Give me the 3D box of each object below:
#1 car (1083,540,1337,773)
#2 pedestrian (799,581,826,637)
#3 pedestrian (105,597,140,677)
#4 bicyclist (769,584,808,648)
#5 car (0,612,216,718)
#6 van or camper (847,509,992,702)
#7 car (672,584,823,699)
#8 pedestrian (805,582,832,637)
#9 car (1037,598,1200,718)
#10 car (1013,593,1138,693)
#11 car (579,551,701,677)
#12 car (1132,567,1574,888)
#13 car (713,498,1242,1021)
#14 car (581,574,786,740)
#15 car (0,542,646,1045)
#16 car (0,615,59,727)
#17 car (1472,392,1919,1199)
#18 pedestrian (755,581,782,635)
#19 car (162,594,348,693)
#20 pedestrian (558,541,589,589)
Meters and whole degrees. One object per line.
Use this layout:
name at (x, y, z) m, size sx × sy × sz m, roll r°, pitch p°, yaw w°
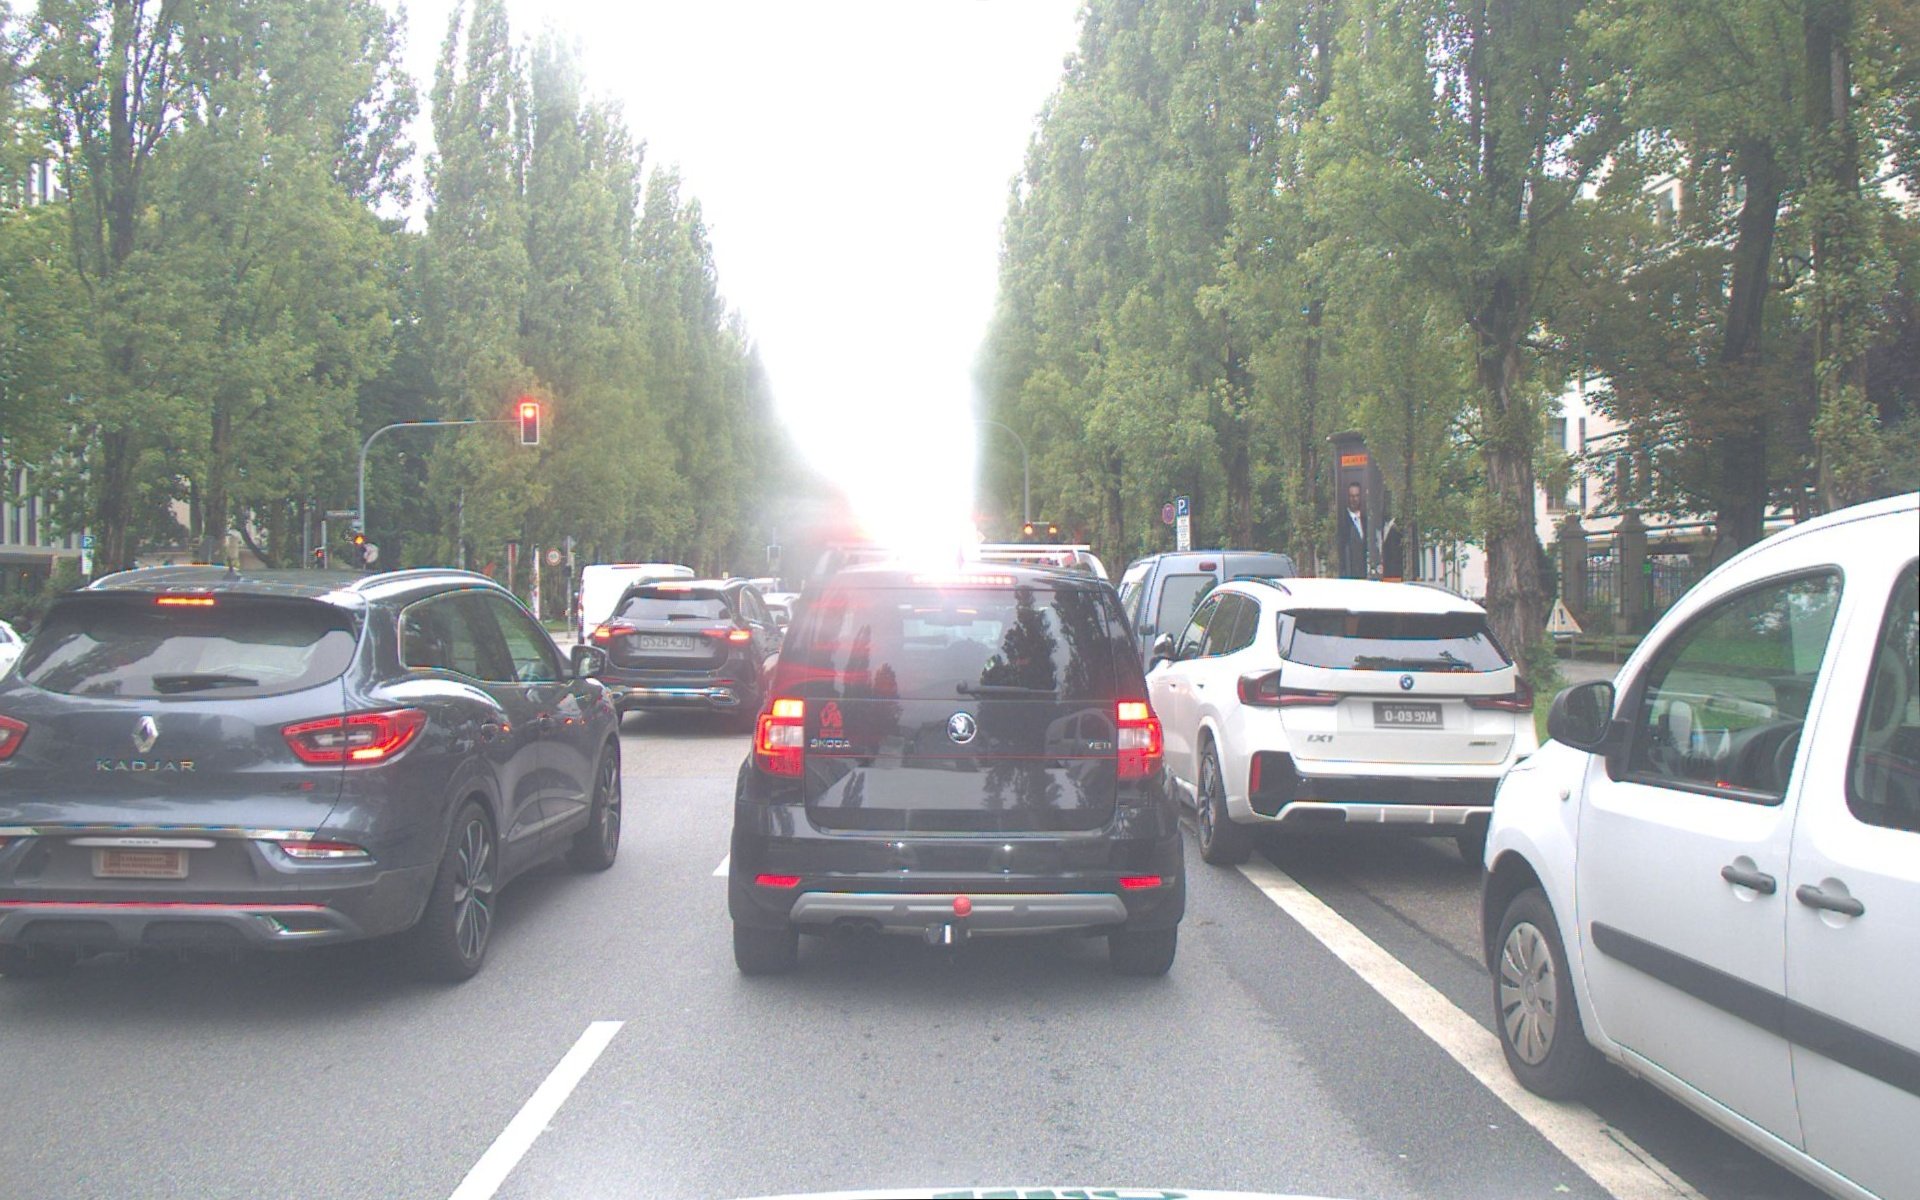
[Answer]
car at (2.246, 0.449, 15.853) m, size 1.700 × 1.928 × 4.023 m, roll -1°, pitch 1°, yaw -2°
pedestrian at (-5.474, 0.321, 61.355) m, size 0.867 × 2.049 × 1.013 m, roll -1°, pitch 0°, yaw 1°
pedestrian at (-16.451, 0.730, 32.485) m, size 0.455 × 1.555 × 0.395 m, roll -1°, pitch 0°, yaw -1°
bicyclist at (-4.781, 0.452, 46.069) m, size 0.886 × 1.752 × 0.825 m, roll -1°, pitch 0°, yaw 8°
car at (-13.414, 0.967, 26.182) m, size 1.591 × 1.413 × 4.163 m, roll -3°, pitch 0°, yaw -4°
van or camper at (-0.663, 0.054, 24.492) m, size 1.936 × 2.593 × 4.022 m, roll -1°, pitch 0°, yaw -3°
car at (-3.167, 0.567, 25.409) m, size 1.954 × 1.588 × 3.998 m, roll -1°, pitch 1°, yaw -3°
pedestrian at (-5.348, 0.340, 62.449) m, size 0.867 × 2.049 × 1.013 m, roll -1°, pitch 0°, yaw 1°
car at (2.012, 0.700, 21.922) m, size 1.700 × 1.411 × 3.561 m, roll -1°, pitch 1°, yaw -2°
car at (1.837, 0.651, 27.219) m, size 1.700 × 1.501 × 3.561 m, roll -1°, pitch 1°, yaw -2°
car at (-5.862, 0.237, 30.696) m, size 1.746 × 2.148 × 4.021 m, roll -1°, pitch 0°, yaw -5°
car at (2.238, 0.629, 10.578) m, size 1.706 × 1.620 × 4.210 m, roll -1°, pitch 1°, yaw -2°
car at (0.016, 0.555, 7.810) m, size 1.818 × 1.801 × 3.999 m, roll 1°, pitch 0°, yaw -2°
car at (-3.009, 0.558, 18.748) m, size 1.745 × 1.648 × 4.023 m, roll 1°, pitch 0°, yaw -2°
car at (-2.696, 0.613, 7.454) m, size 1.798 × 1.613 × 4.184 m, roll 1°, pitch 0°, yaw -1°
car at (-13.105, 0.969, 20.676) m, size 1.591 × 1.413 × 4.163 m, roll -3°, pitch 0°, yaw -4°
car at (2.719, 0.550, 3.516) m, size 1.814 × 1.914 × 4.166 m, roll -1°, pitch 1°, yaw -3°
pedestrian at (-7.440, 0.298, 64.258) m, size 0.867 × 2.049 × 1.013 m, roll -1°, pitch 0°, yaw 1°
car at (-13.553, 0.775, 32.128) m, size 1.813 × 1.683 × 4.692 m, roll -3°, pitch 0°, yaw -4°
pedestrian at (-14.749, -1.324, 63.099) m, size 0.861 × 1.795 × 0.879 m, roll -1°, pitch 0°, yaw 8°
